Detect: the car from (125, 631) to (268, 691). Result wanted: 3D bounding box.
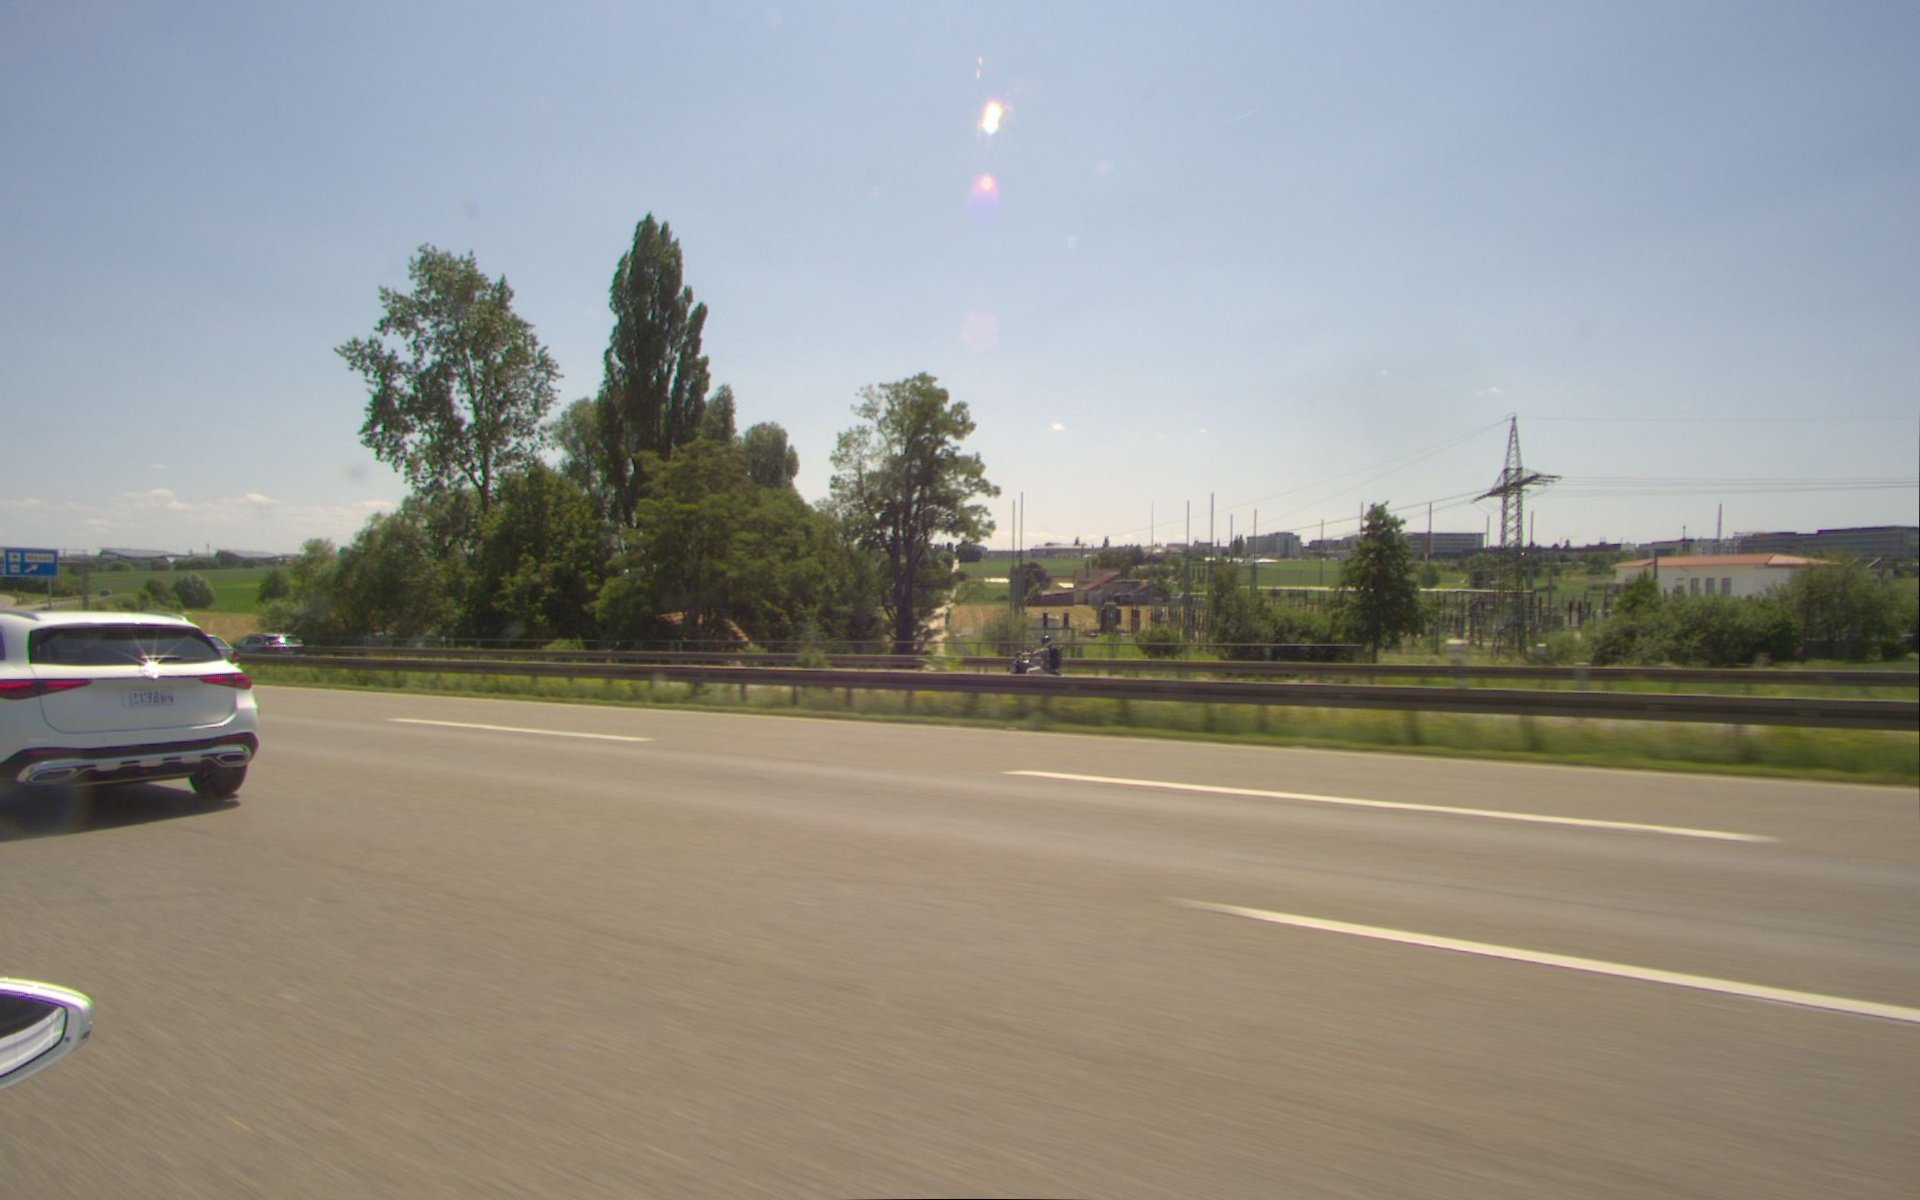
[{"bbox_3d":[-20.308,1.562,26.579,4.785,1.455,1.780,-2,-2,37],"label":"car"}]

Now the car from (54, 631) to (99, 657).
[{"bbox_3d":[-68.111,3.397,77.198,4.129,1.948,1.931,-2,-2,39],"label":"car"}]

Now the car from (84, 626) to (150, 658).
[{"bbox_3d":[-52.835,2.599,62.759,4.118,1.948,1.936,-1,-2,31],"label":"car"}]

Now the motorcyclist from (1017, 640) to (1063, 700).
[{"bbox_3d":[1.883,1.633,23.535,0.866,1.384,0.667,-1,-1,32],"label":"motorcyclist"}]

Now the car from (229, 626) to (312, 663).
[{"bbox_3d":[-31.450,2.019,45.660,4.070,1.595,1.696,-1,-2,33],"label":"car"}]

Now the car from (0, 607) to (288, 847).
[{"bbox_3d":[-8.299,0.953,9.031,4.927,1.668,1.895,-1,-2,32],"label":"car"}]

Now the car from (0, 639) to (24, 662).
[{"bbox_3d":[-69.566,3.622,72.283,3.942,1.616,1.991,-1,-2,31],"label":"car"}]

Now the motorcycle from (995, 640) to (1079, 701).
[{"bbox_3d":[1.796,1.637,23.592,1.843,1.384,0.758,-1,-1,33],"label":"motorcycle"}]
